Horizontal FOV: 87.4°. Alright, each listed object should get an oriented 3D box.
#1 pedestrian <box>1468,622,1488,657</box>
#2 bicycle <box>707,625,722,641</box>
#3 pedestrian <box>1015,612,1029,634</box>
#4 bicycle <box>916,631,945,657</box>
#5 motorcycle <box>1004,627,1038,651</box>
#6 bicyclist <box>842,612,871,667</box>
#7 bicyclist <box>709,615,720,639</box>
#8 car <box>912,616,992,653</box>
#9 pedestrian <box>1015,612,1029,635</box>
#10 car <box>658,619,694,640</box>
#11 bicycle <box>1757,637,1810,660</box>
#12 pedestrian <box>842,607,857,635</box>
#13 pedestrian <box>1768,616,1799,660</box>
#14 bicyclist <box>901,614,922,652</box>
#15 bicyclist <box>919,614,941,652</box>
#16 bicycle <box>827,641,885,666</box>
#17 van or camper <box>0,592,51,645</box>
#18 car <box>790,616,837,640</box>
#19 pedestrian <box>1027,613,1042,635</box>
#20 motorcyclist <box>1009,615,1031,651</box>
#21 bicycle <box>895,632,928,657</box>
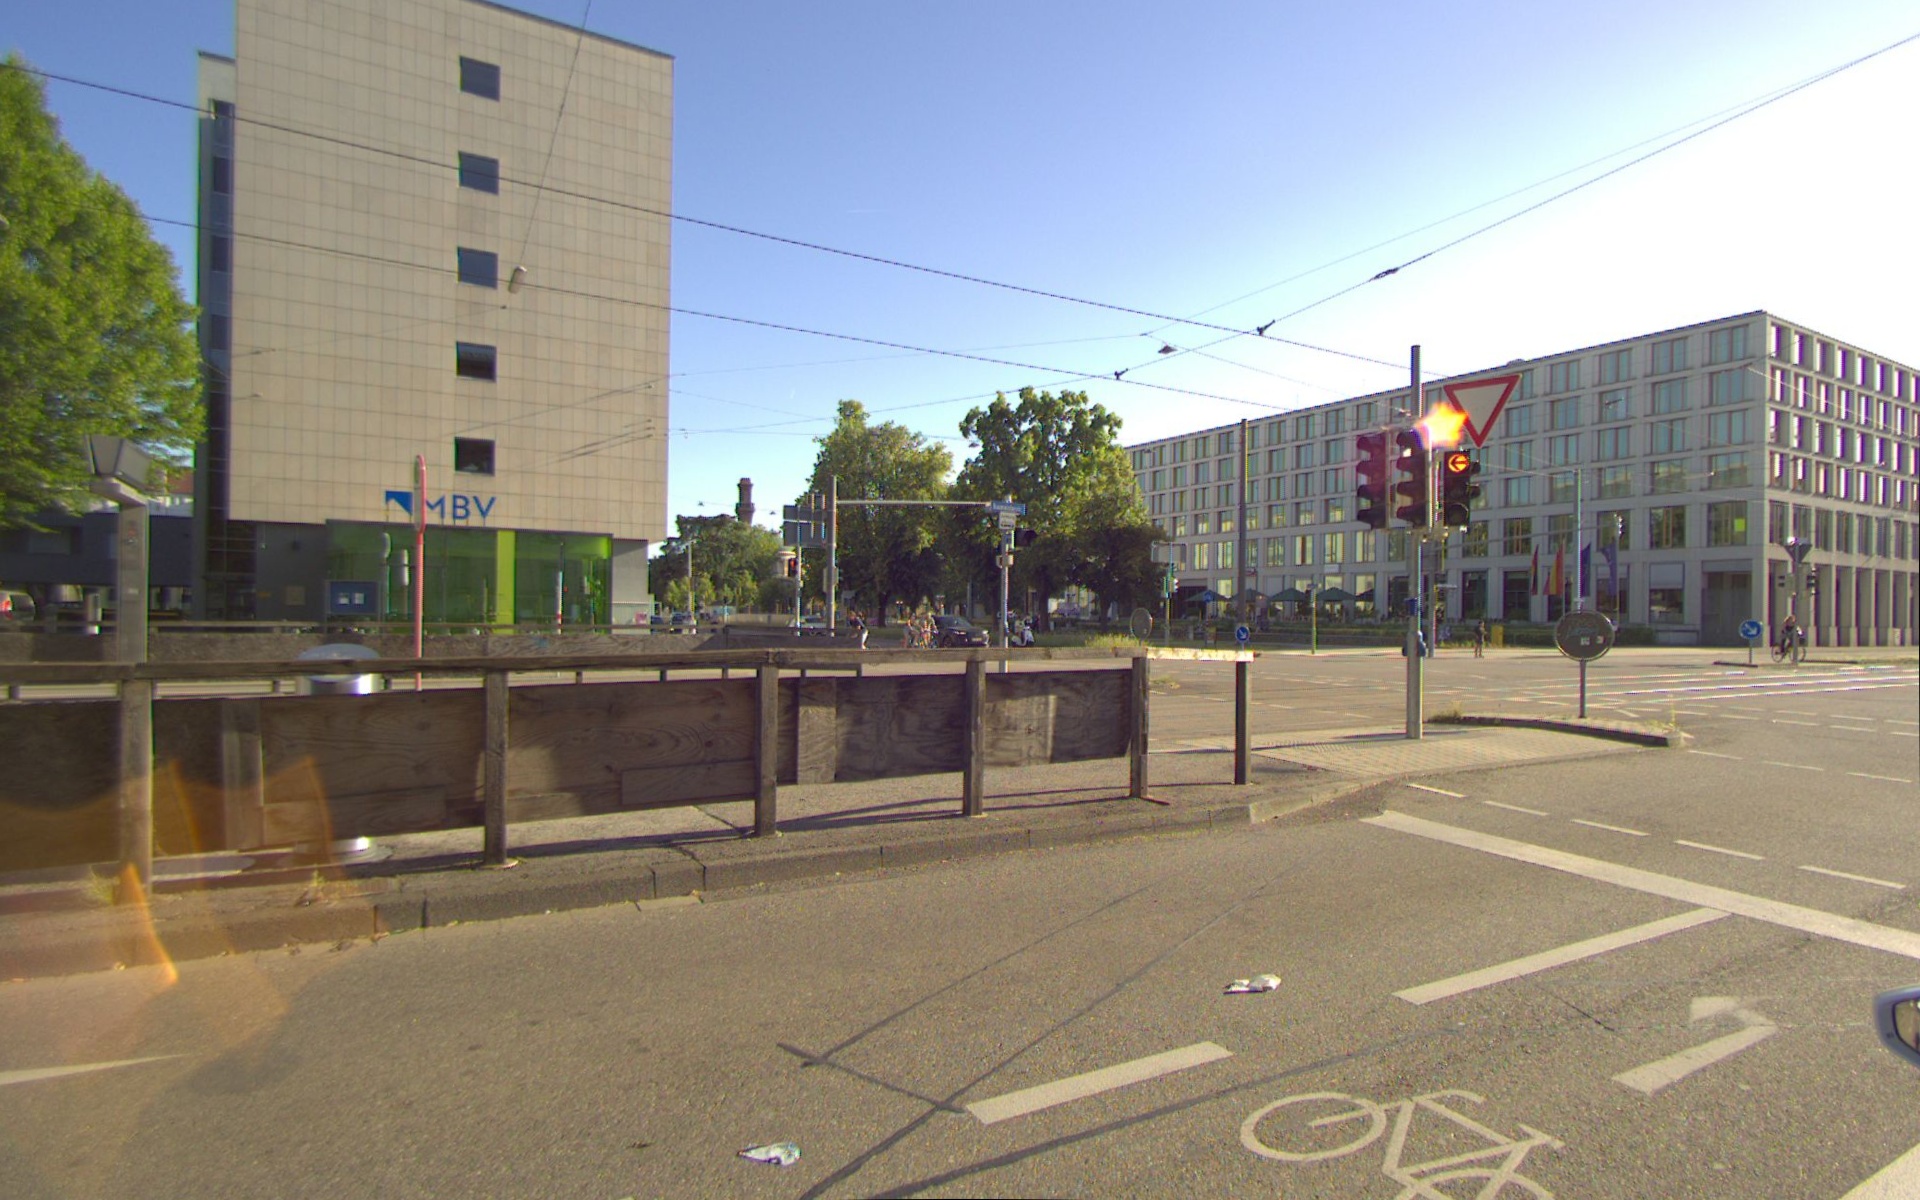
[{"bbox_3d":[25.132,1.919,48.762,0.596,1.703,0.604,1,-1,-15],"label":"pedestrian"},{"bbox_3d":[-16.566,2.220,67.794,0.576,1.032,1.666,1,-1,-27],"label":"bicycle"},{"bbox_3d":[5.067,1.890,82.352,0.858,1.738,0.737,2,0,-26],"label":"pedestrian"},{"bbox_3d":[-1.267,1.840,42.372,0.576,1.032,1.666,1,-1,-27],"label":"bicycle"},{"bbox_3d":[2.847,1.820,46.947,0.624,1.030,1.972,-3,1,-28],"label":"motorcycle"},{"bbox_3d":[-3.402,1.280,33.034,0.762,1.784,0.532,1,-1,-30],"label":"bicyclist"},{"bbox_3d":[-16.577,1.825,67.820,0.576,1.658,0.890,1,-1,-27],"label":"bicyclist"},{"bbox_3d":[-0.409,1.500,44.852,1.925,1.561,3.969,2,-2,-29],"label":"car"},{"bbox_3d":[4.891,1.871,79.529,0.858,1.738,0.737,2,0,-26],"label":"pedestrian"},{"bbox_3d":[-23.078,2.379,81.572,1.975,1.472,4.179,2,0,-28],"label":"car"},{"bbox_3d":[30.989,1.814,37.822,0.562,0.834,1.718,1,-1,-2],"label":"bicycle"},{"bbox_3d":[-8.155,1.559,74.128,0.772,2.040,0.747,1,-1,-31],"label":"pedestrian"},{"bbox_3d":[30.989,1.418,37.793,0.562,1.616,0.744,1,-1,-3],"label":"pedestrian"},{"bbox_3d":[-2.033,1.367,42.008,0.577,1.563,0.833,1,-2,-32],"label":"bicyclist"},{"bbox_3d":[-1.274,1.387,42.408,0.576,1.563,0.890,1,-1,-27],"label":"bicyclist"},{"bbox_3d":[-3.418,1.745,33.012,1.831,0.798,0.532,1,-1,-31],"label":"bicycle"},{"bbox_3d":[-27.889,0.428,27.557,3.954,1.425,1.954,4,-3,-30],"label":"van or camper"},{"bbox_3d":[-10.360,1.946,70.617,1.975,1.472,4.179,2,0,-28],"label":"car"},{"bbox_3d":[5.890,1.901,79.509,0.858,1.738,0.737,2,0,-26],"label":"pedestrian"},{"bbox_3d":[2.806,1.539,46.978,0.624,1.601,0.812,-3,1,-28],"label":"motorcyclist"},{"bbox_3d":[-2.039,1.845,42.011,0.577,1.032,1.806,1,-3,-31],"label":"bicycle"}]
